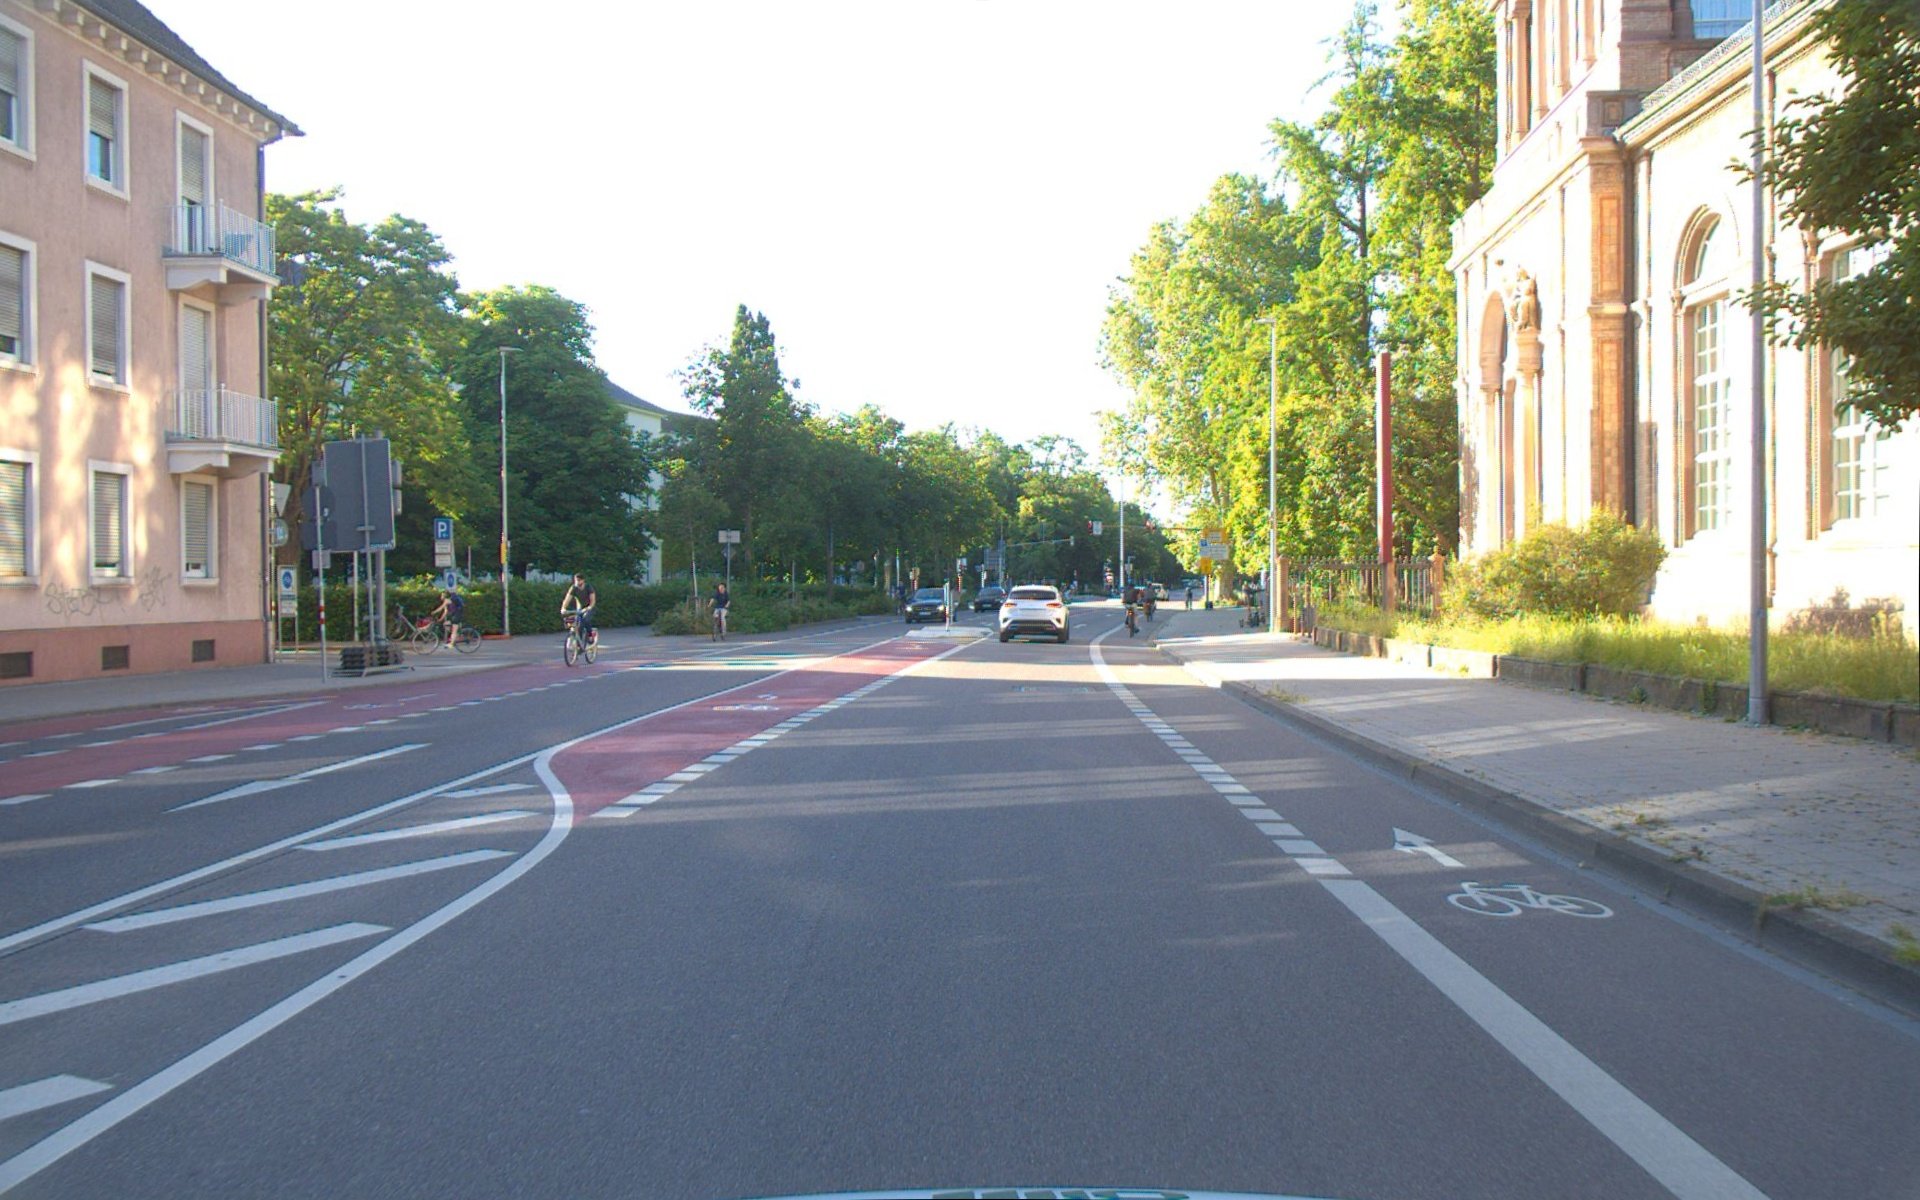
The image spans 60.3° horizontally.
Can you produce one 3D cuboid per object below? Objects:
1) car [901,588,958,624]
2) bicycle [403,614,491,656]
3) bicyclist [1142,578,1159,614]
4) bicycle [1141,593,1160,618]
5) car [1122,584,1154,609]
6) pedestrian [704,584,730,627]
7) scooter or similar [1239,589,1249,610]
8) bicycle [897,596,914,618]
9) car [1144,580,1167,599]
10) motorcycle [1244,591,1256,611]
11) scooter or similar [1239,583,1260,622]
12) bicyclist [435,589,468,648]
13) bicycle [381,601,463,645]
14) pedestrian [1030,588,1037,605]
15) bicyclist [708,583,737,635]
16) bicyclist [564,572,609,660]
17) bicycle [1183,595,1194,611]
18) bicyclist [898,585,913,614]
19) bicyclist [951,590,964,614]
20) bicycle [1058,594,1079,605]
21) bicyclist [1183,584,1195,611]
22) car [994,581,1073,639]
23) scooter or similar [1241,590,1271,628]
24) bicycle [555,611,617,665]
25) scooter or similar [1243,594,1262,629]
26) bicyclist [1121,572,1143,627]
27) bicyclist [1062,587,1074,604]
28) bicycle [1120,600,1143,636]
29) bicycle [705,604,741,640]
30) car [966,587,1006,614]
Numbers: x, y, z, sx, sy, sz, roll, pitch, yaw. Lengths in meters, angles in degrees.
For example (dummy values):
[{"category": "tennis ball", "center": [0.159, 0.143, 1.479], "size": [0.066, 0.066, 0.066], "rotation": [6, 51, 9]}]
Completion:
[{"category": "car", "center": [-1.265, 0.223, 70.028], "size": [1.773, 1.444, 4.558], "rotation": [-1, 0, 7]}, {"category": "bicycle", "center": [-13.564, 0.914, 43.775], "size": [2.062, 1.013, 0.738], "rotation": [-2, 1, -7]}, {"category": "bicyclist", "center": [8.375, -0.178, 72.755], "size": [0.731, 1.564, 0.970], "rotation": [0, 0, 9]}, {"category": "bicycle", "center": [8.367, 0.241, 72.709], "size": [0.737, 1.044, 1.871], "rotation": [0, 0, 9]}, {"category": "car", "center": [11.753, -0.216, 108.986], "size": [1.888, 1.560, 4.003], "rotation": [-1, 0, 9]}, {"category": "pedestrian", "center": [-10.786, 0.257, 73.372], "size": [0.837, 1.884, 1.002], "rotation": [-1, 0, 7]}, {"category": "scooter or similar", "center": [18.685, -0.033, 108.877], "size": [0.554, 1.407, 1.858], "rotation": [-1, 0, 8]}, {"category": "bicycle", "center": [-2.999, 0.399, 91.442], "size": [0.584, 1.140, 2.028], "rotation": [-4, 0, 6]}, {"category": "car", "center": [16.707, -0.896, 141.103], "size": [1.700, 1.573, 4.004], "rotation": [-1, 1, 11]}, {"category": "motorcycle", "center": [17.901, 0.050, 102.133], "size": [0.648, 1.188, 2.329], "rotation": [-3, 0, 9]}, {"category": "scooter or similar", "center": [9.403, 0.085, 53.753], "size": [0.291, 1.261, 1.159], "rotation": [-1, 0, -7]}, {"category": "bicyclist", "center": [-13.453, 0.483, 43.788], "size": [0.650, 1.511, 0.739], "rotation": [-2, 0, -7]}, {"category": "bicycle", "center": [-15.866, 0.666, 48.762], "size": [2.270, 1.251, 0.561], "rotation": [-1, 0, 8]}, {"category": "pedestrian", "center": [8.150, -0.409, 183.257], "size": [0.637, 1.921, 0.663], "rotation": [-1, 0, 11]}, {"category": "bicyclist", "center": [-7.133, 0.257, 49.688], "size": [0.642, 1.511, 0.665], "rotation": [-4, 0, 3]}, {"category": "bicyclist", "center": [-7.637, 0.326, 33.827], "size": [0.622, 1.740, 0.739], "rotation": [-4, 0, 3]}, {"category": "bicycle", "center": [15.234, 0.178, 110.230], "size": [0.737, 1.044, 1.871], "rotation": [0, 0, 9]}, {"category": "bicyclist", "center": [-3.022, -0.037, 91.501], "size": [0.616, 1.549, 0.725], "rotation": [-4, 0, 6]}, {"category": "bicyclist", "center": [-0.163, 0.116, 101.910], "size": [0.632, 1.443, 0.971], "rotation": [-4, 0, 6]}, {"category": "bicycle", "center": [9.595, -0.048, 146.211], "size": [1.728, 1.007, 0.512], "rotation": [-1, 0, 16]}, {"category": "bicyclist", "center": [15.255, -0.181, 110.224], "size": [0.733, 1.780, 0.844], "rotation": [0, 0, 9]}, {"category": "car", "center": [2.062, 0.259, 45.240], "size": [1.951, 1.478, 4.003], "rotation": [-1, 0, 5]}, {"category": "scooter or similar", "center": [10.140, 0.296, 56.705], "size": [0.537, 1.264, 1.555], "rotation": [-1, 0, -8]}, {"category": "bicycle", "center": [-7.641, 0.755, 33.870], "size": [0.632, 1.013, 2.110], "rotation": [-2, 0, 3]}, {"category": "scooter or similar", "center": [9.706, 0.365, 54.840], "size": [0.470, 1.142, 1.337], "rotation": [-1, 0, 5]}, {"category": "bicyclist", "center": [5.269, -0.015, 50.685], "size": [0.622, 1.642, 1.285], "rotation": [0, 0, 7]}, {"category": "bicyclist", "center": [9.558, -0.414, 146.219], "size": [0.902, 1.535, 0.507], "rotation": [-1, 0, 16]}, {"category": "bicycle", "center": [5.273, 0.550, 50.683], "size": [0.629, 1.042, 2.214], "rotation": [1, 0, 7]}, {"category": "bicycle", "center": [-7.104, 0.652, 49.689], "size": [0.638, 1.013, 2.110], "rotation": [-2, 0, 3]}, {"category": "car", "center": [1.539, 0.000, 96.141], "size": [1.720, 1.484, 4.004], "rotation": [-1, 0, 10]}]
